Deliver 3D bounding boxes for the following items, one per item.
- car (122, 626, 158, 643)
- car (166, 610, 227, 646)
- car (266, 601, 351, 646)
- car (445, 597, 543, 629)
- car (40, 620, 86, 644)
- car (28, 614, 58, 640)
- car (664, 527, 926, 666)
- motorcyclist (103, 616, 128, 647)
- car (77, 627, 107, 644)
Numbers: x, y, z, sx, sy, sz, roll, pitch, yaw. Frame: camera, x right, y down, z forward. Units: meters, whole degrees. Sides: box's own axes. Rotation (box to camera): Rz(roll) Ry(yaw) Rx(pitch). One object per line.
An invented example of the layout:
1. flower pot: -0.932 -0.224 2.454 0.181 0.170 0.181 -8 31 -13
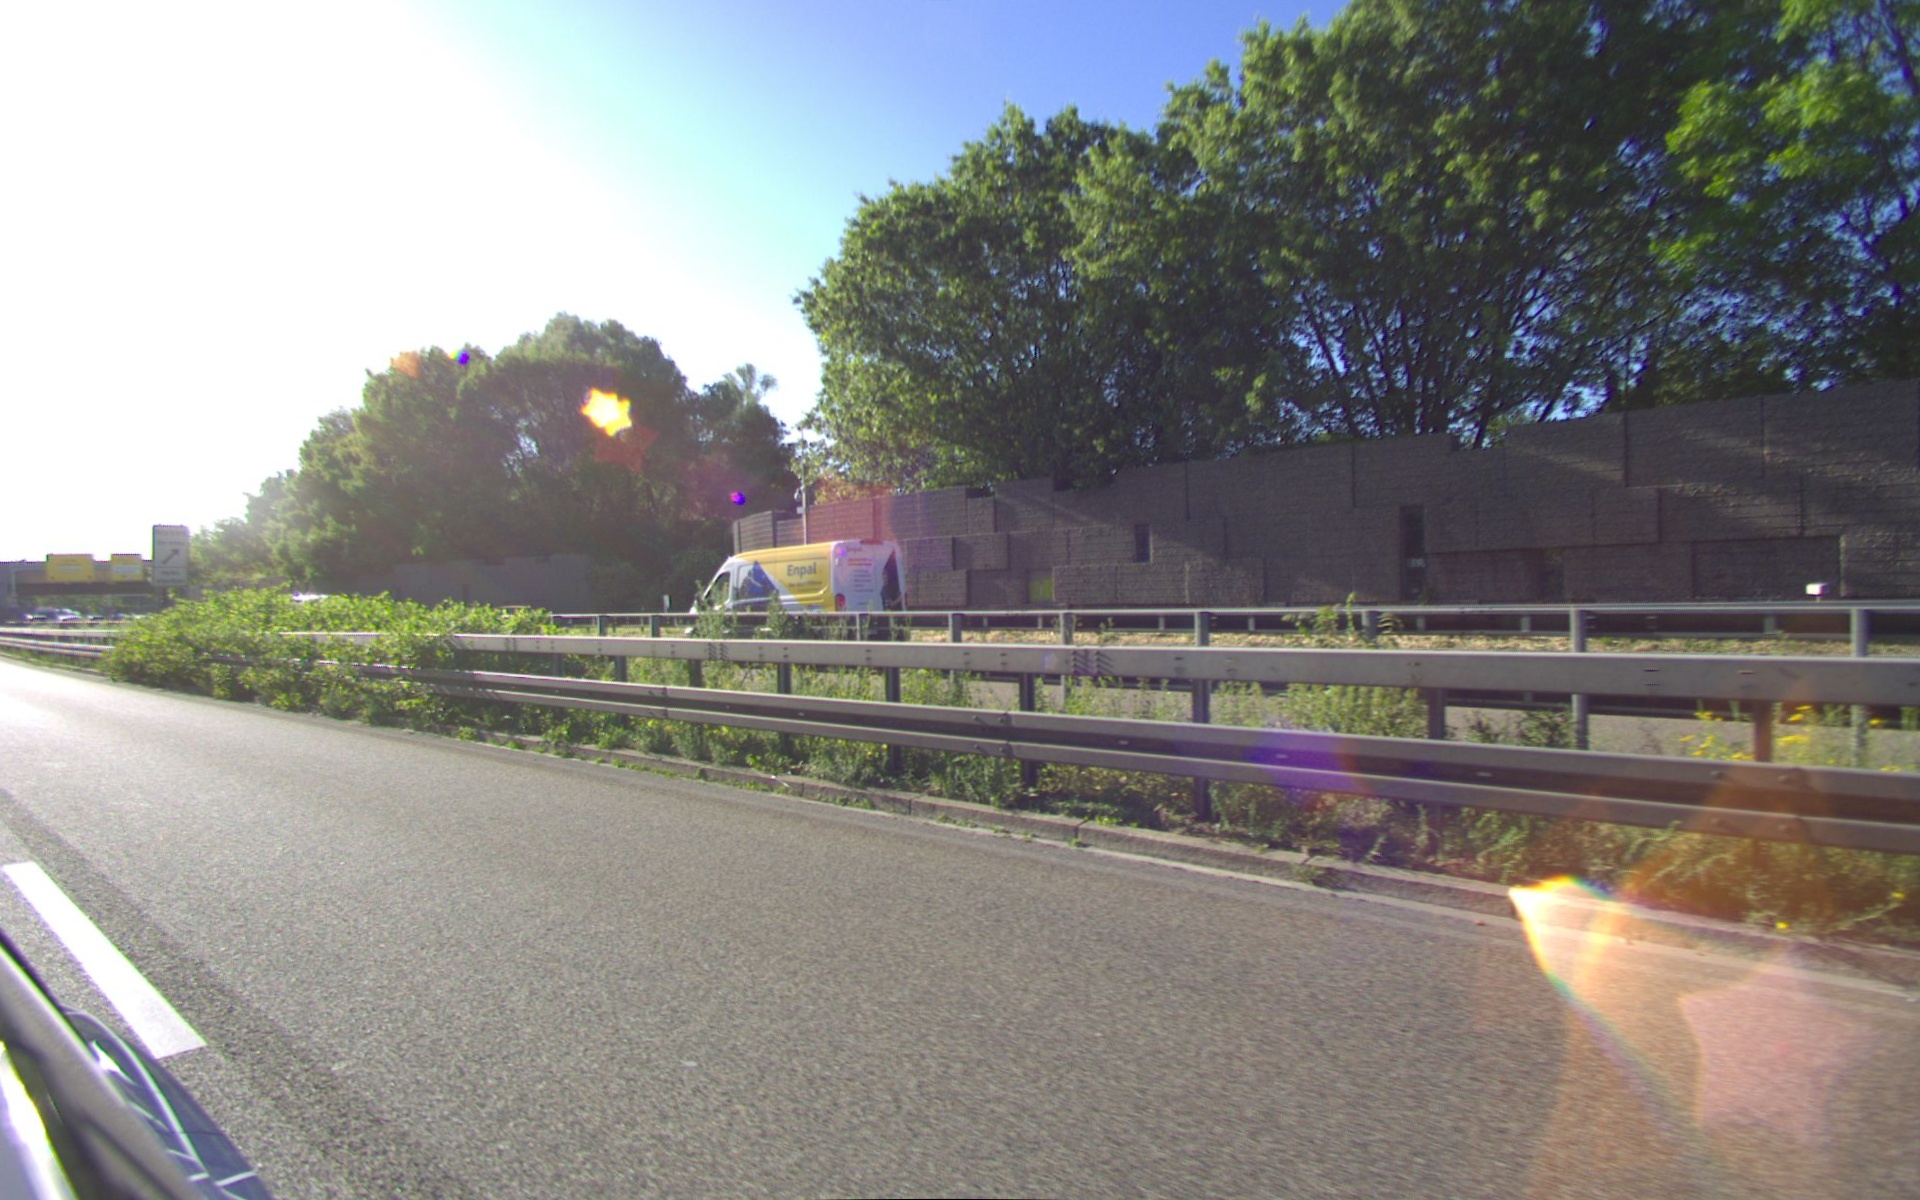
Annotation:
1. car: -75.069 3.168 92.673 4.029 1.398 1.972 -3 1 43
2. car: -42.728 1.576 56.588 4.620 1.835 1.803 -3 1 42
3. car: -37.691 1.366 58.500 5.359 2.297 2.060 -3 1 34
4. car: -23.684 0.656 51.565 4.047 1.343 1.999 -4 1 6
5. car: -63.950 2.302 72.153 4.618 1.491 1.803 -3 1 41
6. car: -105.727 3.140 116.706 6.591 2.703 2.097 -3 1 45
7. car: -3.742 -0.016 22.022 6.048 2.630 2.125 -3 1 41
8. motorcyclist: -46.148 1.719 55.308 1.046 1.637 0.813 -3 1 41
9. car: -93.534 3.783 109.015 4.696 1.632 1.881 -3 1 43
